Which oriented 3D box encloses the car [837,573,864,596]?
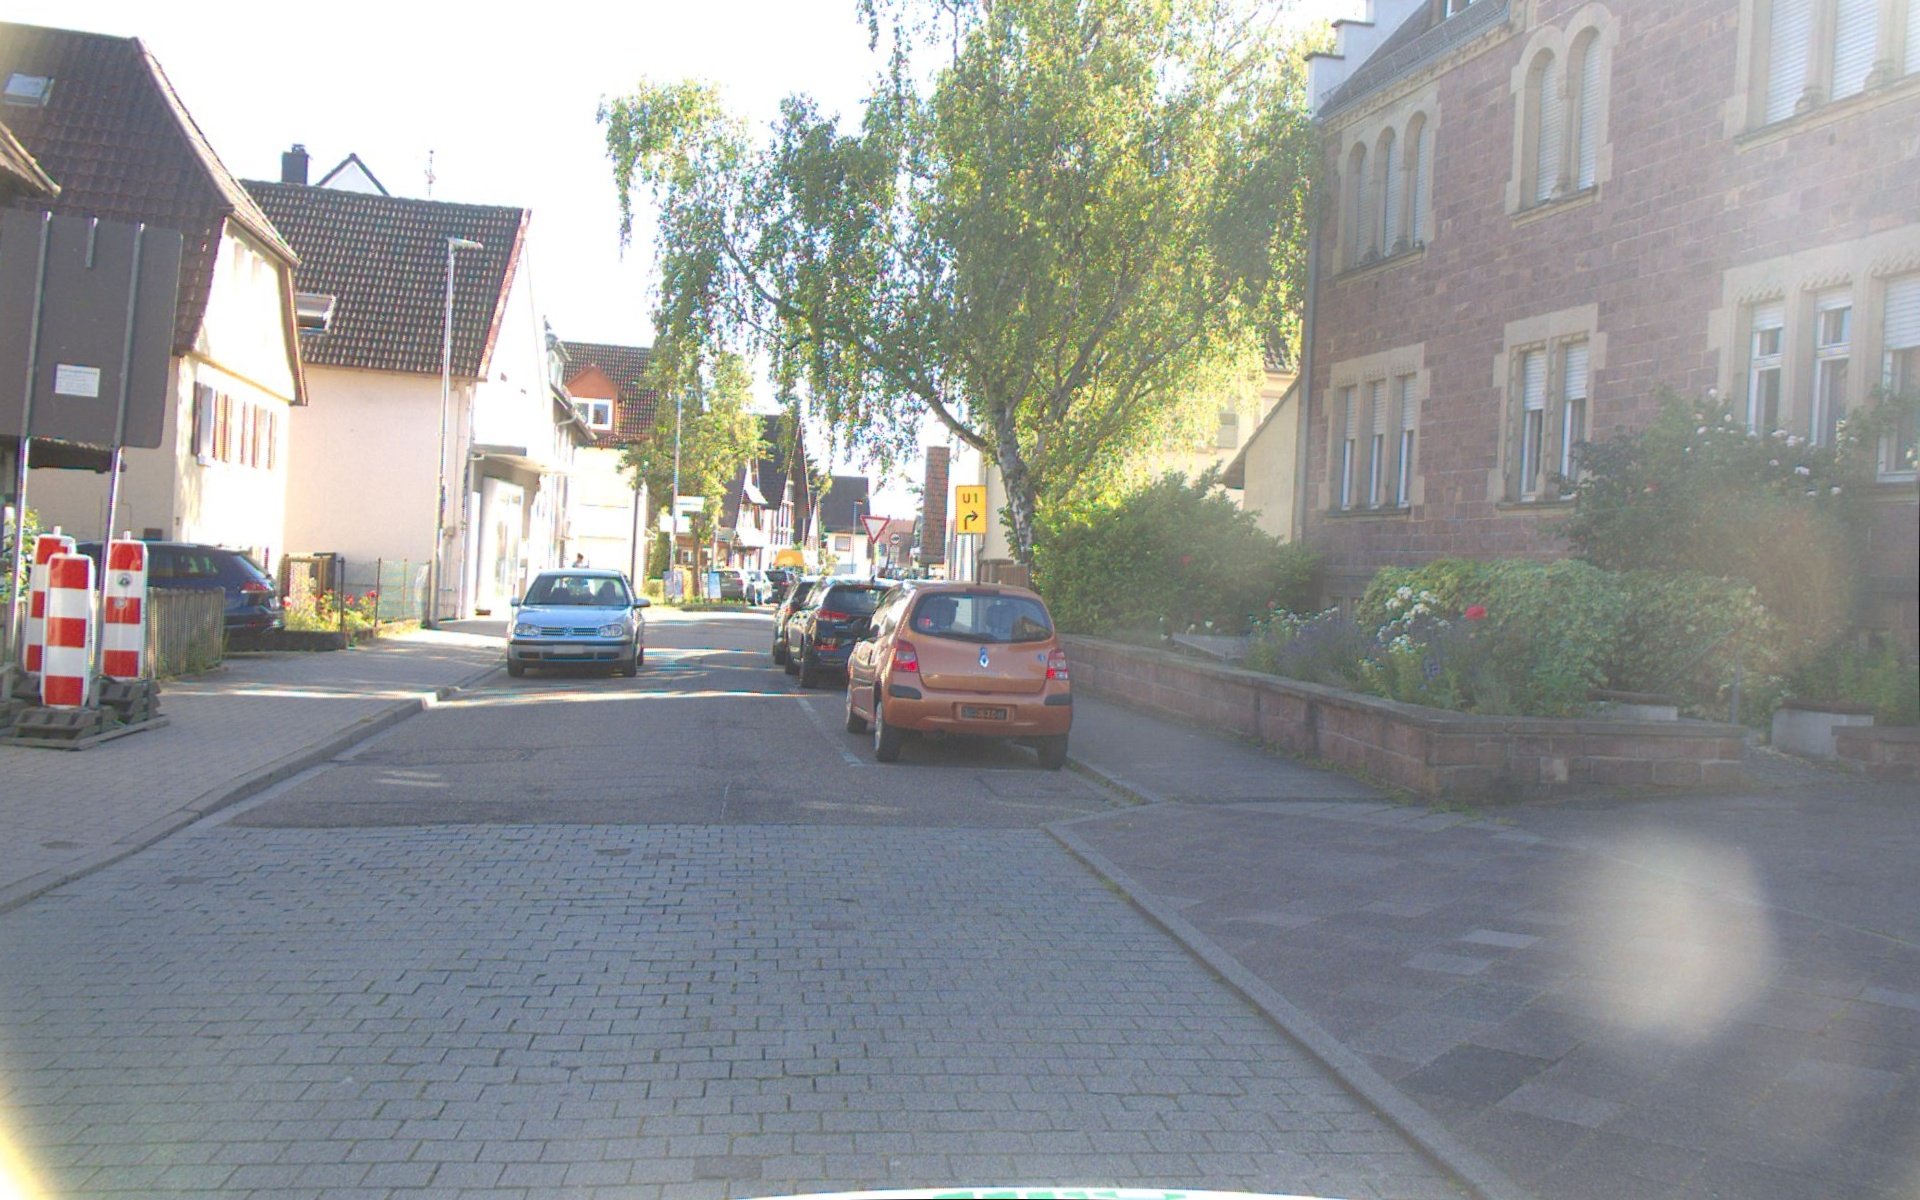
[{"bbox_3d":[-7.353,-1.034,111.444,1.556,1.467,3.614,4,0,-1],"label":"car"}]

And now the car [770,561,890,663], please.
[{"bbox_3d":[-2.245,0.140,27.768,1.773,1.460,4.280,3,1,-6],"label":"car"}]

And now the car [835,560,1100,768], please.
[{"bbox_3d":[-0.077,0.463,14.788,1.618,1.504,3.924,3,1,-10],"label":"car"}]

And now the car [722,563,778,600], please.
[{"bbox_3d":[-9.448,-0.815,74.644,1.769,1.532,4.108,3,0,2],"label":"car"}]

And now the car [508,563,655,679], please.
[{"bbox_3d":[-5.226,0.232,23.230,1.639,1.427,3.885,2,1,-8],"label":"car"}]

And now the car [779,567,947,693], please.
[{"bbox_3d":[-1.454,0.344,23.116,1.775,1.460,4.276,3,1,-10],"label":"car"}]

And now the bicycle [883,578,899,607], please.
[{"bbox_3d":[-2.997,-0.324,72.115,0.424,1.197,1.830,3,1,5],"label":"bicycle"}]

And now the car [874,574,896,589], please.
[{"bbox_3d":[-9.266,-2.278,204.184,1.939,1.610,3.983,3,0,-12],"label":"car"}]

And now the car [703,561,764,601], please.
[{"bbox_3d":[-9.593,-0.782,70.252,1.829,1.532,4.108,3,0,2],"label":"car"}]

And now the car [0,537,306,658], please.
[{"bbox_3d":[-10.880,-0.050,21.590,4.087,1.487,1.842,1,2,-13],"label":"car"}]

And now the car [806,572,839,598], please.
[{"bbox_3d":[-8.137,-0.897,98.168,1.612,1.457,3.614,4,0,-1],"label":"car"}]

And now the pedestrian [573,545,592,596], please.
[{"bbox_3d":[-13.227,-1.035,57.931,0.474,1.722,0.556,3,-1,-3],"label":"pedestrian"}]

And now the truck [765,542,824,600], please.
[{"bbox_3d":[-8.875,-1.504,89.061,2.221,2.918,5.784,3,0,2],"label":"truck"}]

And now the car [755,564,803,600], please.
[{"bbox_3d":[-9.137,-0.890,83.576,1.769,1.650,3.882,3,0,2],"label":"car"}]

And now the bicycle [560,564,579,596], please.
[{"bbox_3d":[-13.635,-0.702,57.721,0.415,1.070,1.379,3,-1,-6],"label":"bicycle"}]
